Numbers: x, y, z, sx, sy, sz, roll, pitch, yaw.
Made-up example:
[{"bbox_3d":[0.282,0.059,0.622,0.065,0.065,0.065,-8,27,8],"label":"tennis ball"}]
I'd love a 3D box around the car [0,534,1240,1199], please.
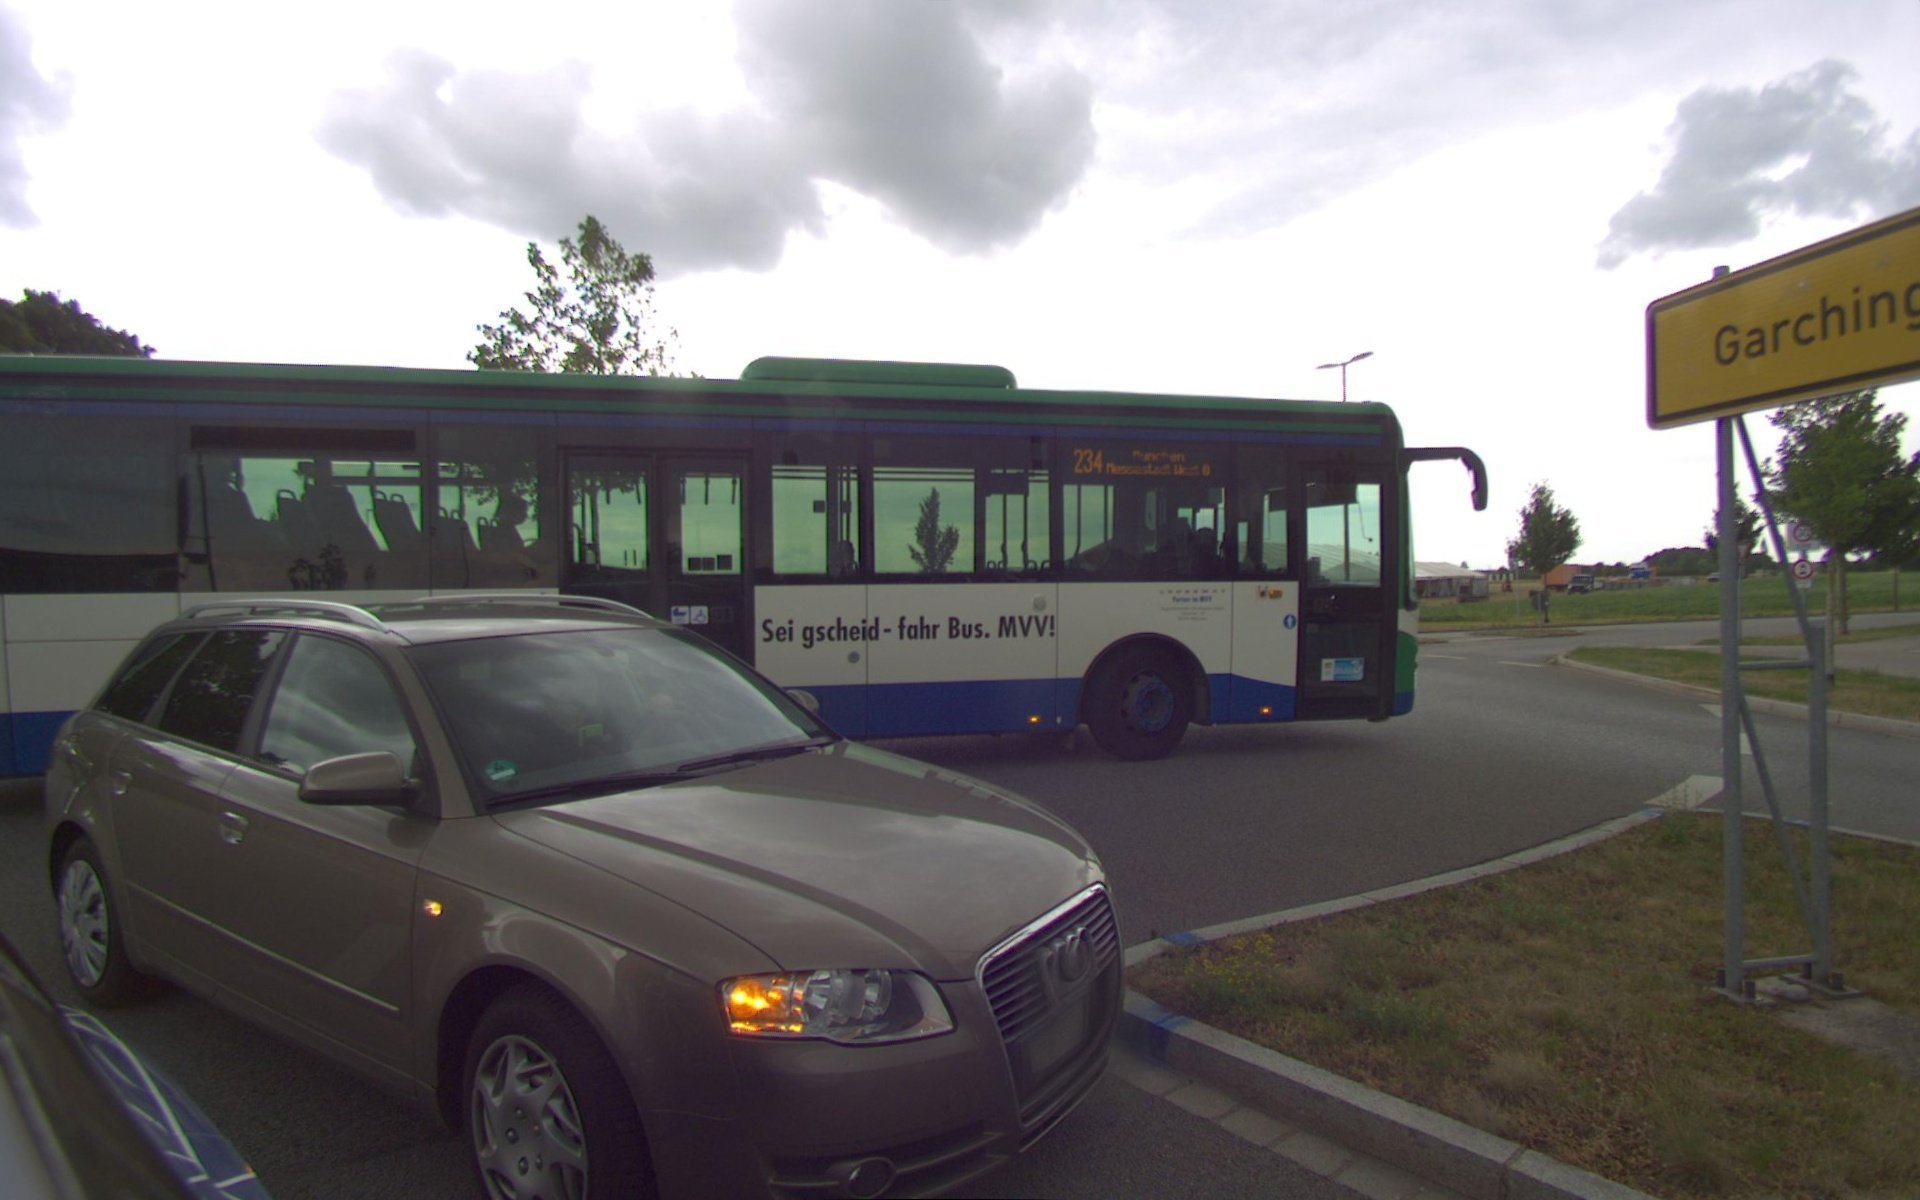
[{"bbox_3d":[-1.548,0.659,3.462,4.524,1.476,1.765,-1,1,31],"label":"car"}]

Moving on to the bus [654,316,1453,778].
[{"bbox_3d":[0.711,-0.378,9.076,6.440,3.283,2.531,0,0,-12],"label":"bus"}]

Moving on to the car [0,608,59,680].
[{"bbox_3d":[-23.757,1.118,23.200,1.920,1.614,4.228,-2,2,32],"label":"car"}]

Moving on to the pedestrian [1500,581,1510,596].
[{"bbox_3d":[75.067,-1.528,139.393,1.043,2.029,1.054,-1,1,20],"label":"pedestrian"}]

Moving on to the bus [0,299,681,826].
[{"bbox_3d":[-5.000,-0.236,7.803,5.370,3.283,2.531,0,0,-12],"label":"bus"}]
